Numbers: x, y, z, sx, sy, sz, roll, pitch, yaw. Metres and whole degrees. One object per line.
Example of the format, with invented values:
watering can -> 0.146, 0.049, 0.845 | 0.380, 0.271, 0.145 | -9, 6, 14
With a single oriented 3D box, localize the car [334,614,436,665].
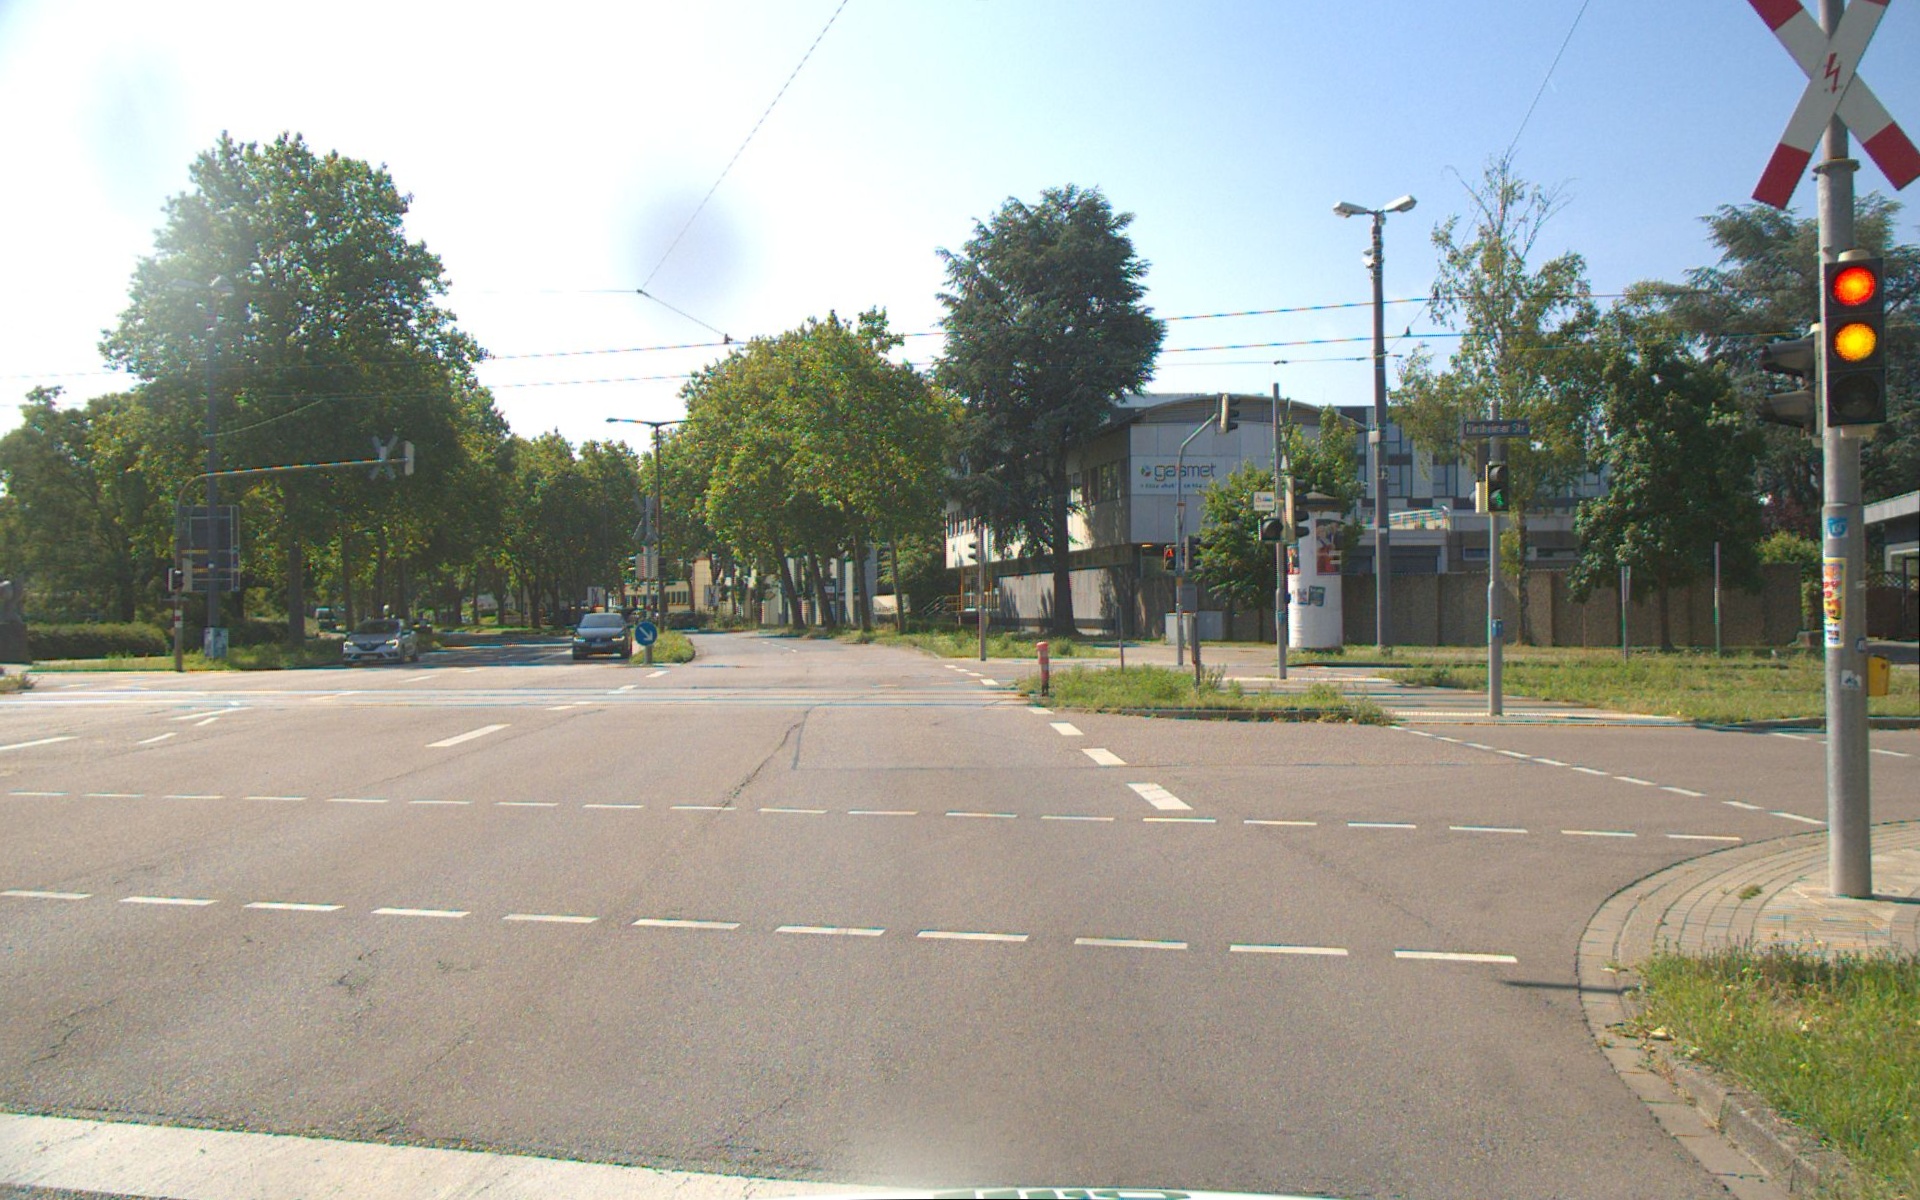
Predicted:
car -> -18.520, 1.244, 53.473 | 1.659, 1.534, 4.660 | -1, 0, 0

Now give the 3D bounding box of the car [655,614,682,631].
car -> -26.126, 2.018, 148.189 | 1.682, 1.514, 4.075 | -1, 0, -21

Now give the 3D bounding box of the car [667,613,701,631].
car -> -23.904, 1.884, 143.144 | 1.685, 1.513, 4.681 | -2, 0, -25

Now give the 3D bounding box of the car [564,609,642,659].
car -> -11.473, 1.061, 53.442 | 1.659, 1.534, 4.128 | -1, 0, -1
